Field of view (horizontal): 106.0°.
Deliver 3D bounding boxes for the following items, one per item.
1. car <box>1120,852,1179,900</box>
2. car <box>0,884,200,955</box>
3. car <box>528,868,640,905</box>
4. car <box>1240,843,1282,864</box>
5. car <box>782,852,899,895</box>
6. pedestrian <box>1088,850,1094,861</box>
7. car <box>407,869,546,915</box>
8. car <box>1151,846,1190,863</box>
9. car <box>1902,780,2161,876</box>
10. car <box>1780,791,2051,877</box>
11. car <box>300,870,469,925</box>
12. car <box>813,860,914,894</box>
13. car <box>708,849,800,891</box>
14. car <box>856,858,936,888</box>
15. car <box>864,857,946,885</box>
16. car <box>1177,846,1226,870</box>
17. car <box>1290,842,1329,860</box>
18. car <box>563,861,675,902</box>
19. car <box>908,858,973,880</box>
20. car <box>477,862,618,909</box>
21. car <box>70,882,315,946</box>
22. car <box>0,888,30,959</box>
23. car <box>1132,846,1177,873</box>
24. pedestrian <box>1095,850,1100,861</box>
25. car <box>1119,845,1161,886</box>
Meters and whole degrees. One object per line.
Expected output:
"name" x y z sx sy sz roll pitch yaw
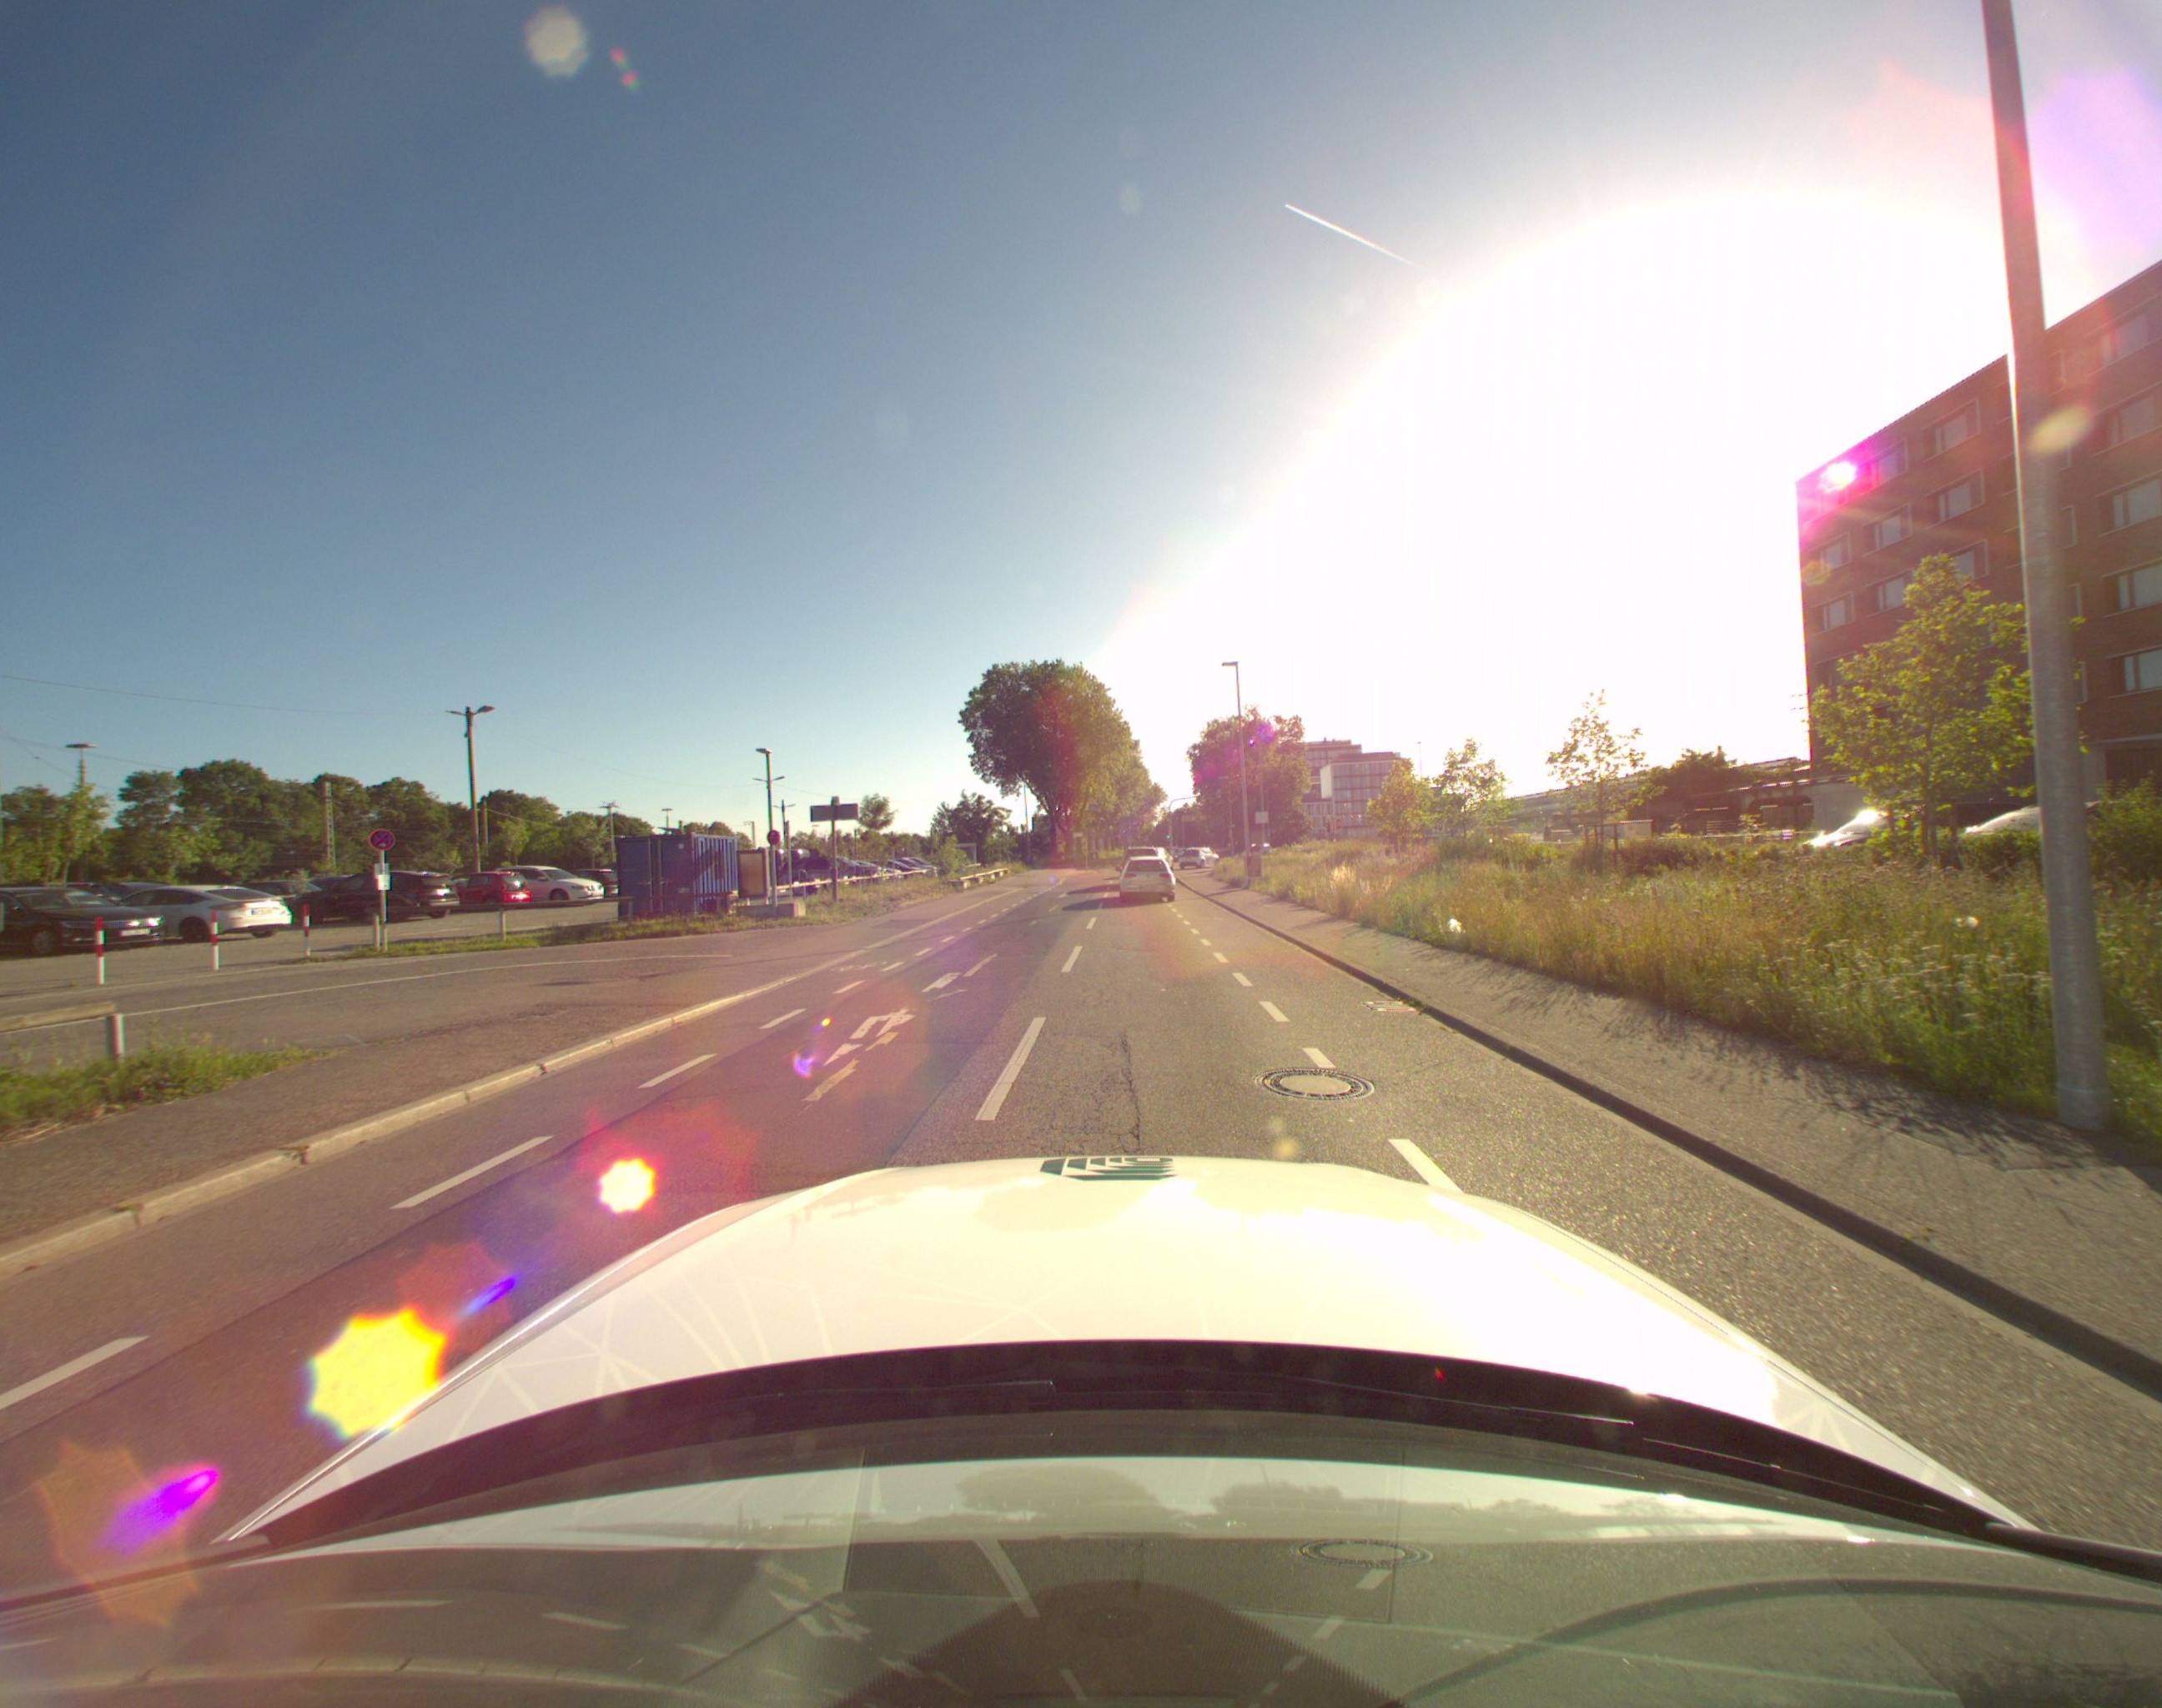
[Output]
"car" 2.277 0.684 27.147 1.782 1.420 4.005 -2 0 4
"car" -22.995 1.464 18.337 4.305 1.376 1.879 -2 0 2
"car" -22.467 1.448 36.889 3.868 1.520 1.879 -2 0 2
"car" 15.609 -0.068 70.496 2.142 1.684 4.026 -2 0 35
"car" -11.325 0.909 38.575 4.826 1.835 2.001 -2 0 2
"pedestrian" 1.352 0.215 111.746 0.675 1.415 0.685 -2 0 3
"car" -22.920 1.417 30.973 3.868 1.520 1.879 -2 0 2
"car" 9.429 0.061 86.221 2.008 1.596 3.957 -2 0 -34
"car" 18.384 -0.478 15.138 4.163 1.580 1.855 -2 0 6
"car" 18.505 -0.413 18.240 3.966 1.706 1.855 -2 0 6
"car" -22.624 1.388 26.553 3.868 1.603 1.879 -2 0 2
"car" -11.059 1.160 41.641 4.576 1.557 2.001 -2 0 2
"car" -20.958 1.015 52.371 4.907 2.459 2.321 -2 0 2
"car" -10.632 1.079 47.050 4.072 1.557 1.879 -2 0 2
"car" -10.736 1.011 49.866 4.525 1.557 1.879 -2 0 2
"car" 8.831 0.277 59.471 1.880 1.596 4.026 -2 0 36
"car" 22.989 -0.328 81.903 2.143 1.684 4.025 -2 0 41
"car" -22.354 1.325 39.522 4.305 1.791 1.879 -2 0 2
"car" -10.505 1.114 61.167 4.408 1.557 1.879 -2 0 2
"car" -22.089 1.291 33.803 4.556 1.741 2.062 -2 0 6
"car" -22.930 1.523 21.133 4.305 1.376 1.879 -2 0 2
"car" -23.814 1.467 15.861 4.305 1.419 1.879 -2 0 2
"car" 4.594 0.298 50.028 1.899 1.529 4.426 -2 0 16
"pedestrian" 2.278 0.184 111.566 0.675 1.415 0.685 -2 0 3
"car" 2.771 0.502 37.870 1.810 1.769 4.635 -2 0 5
